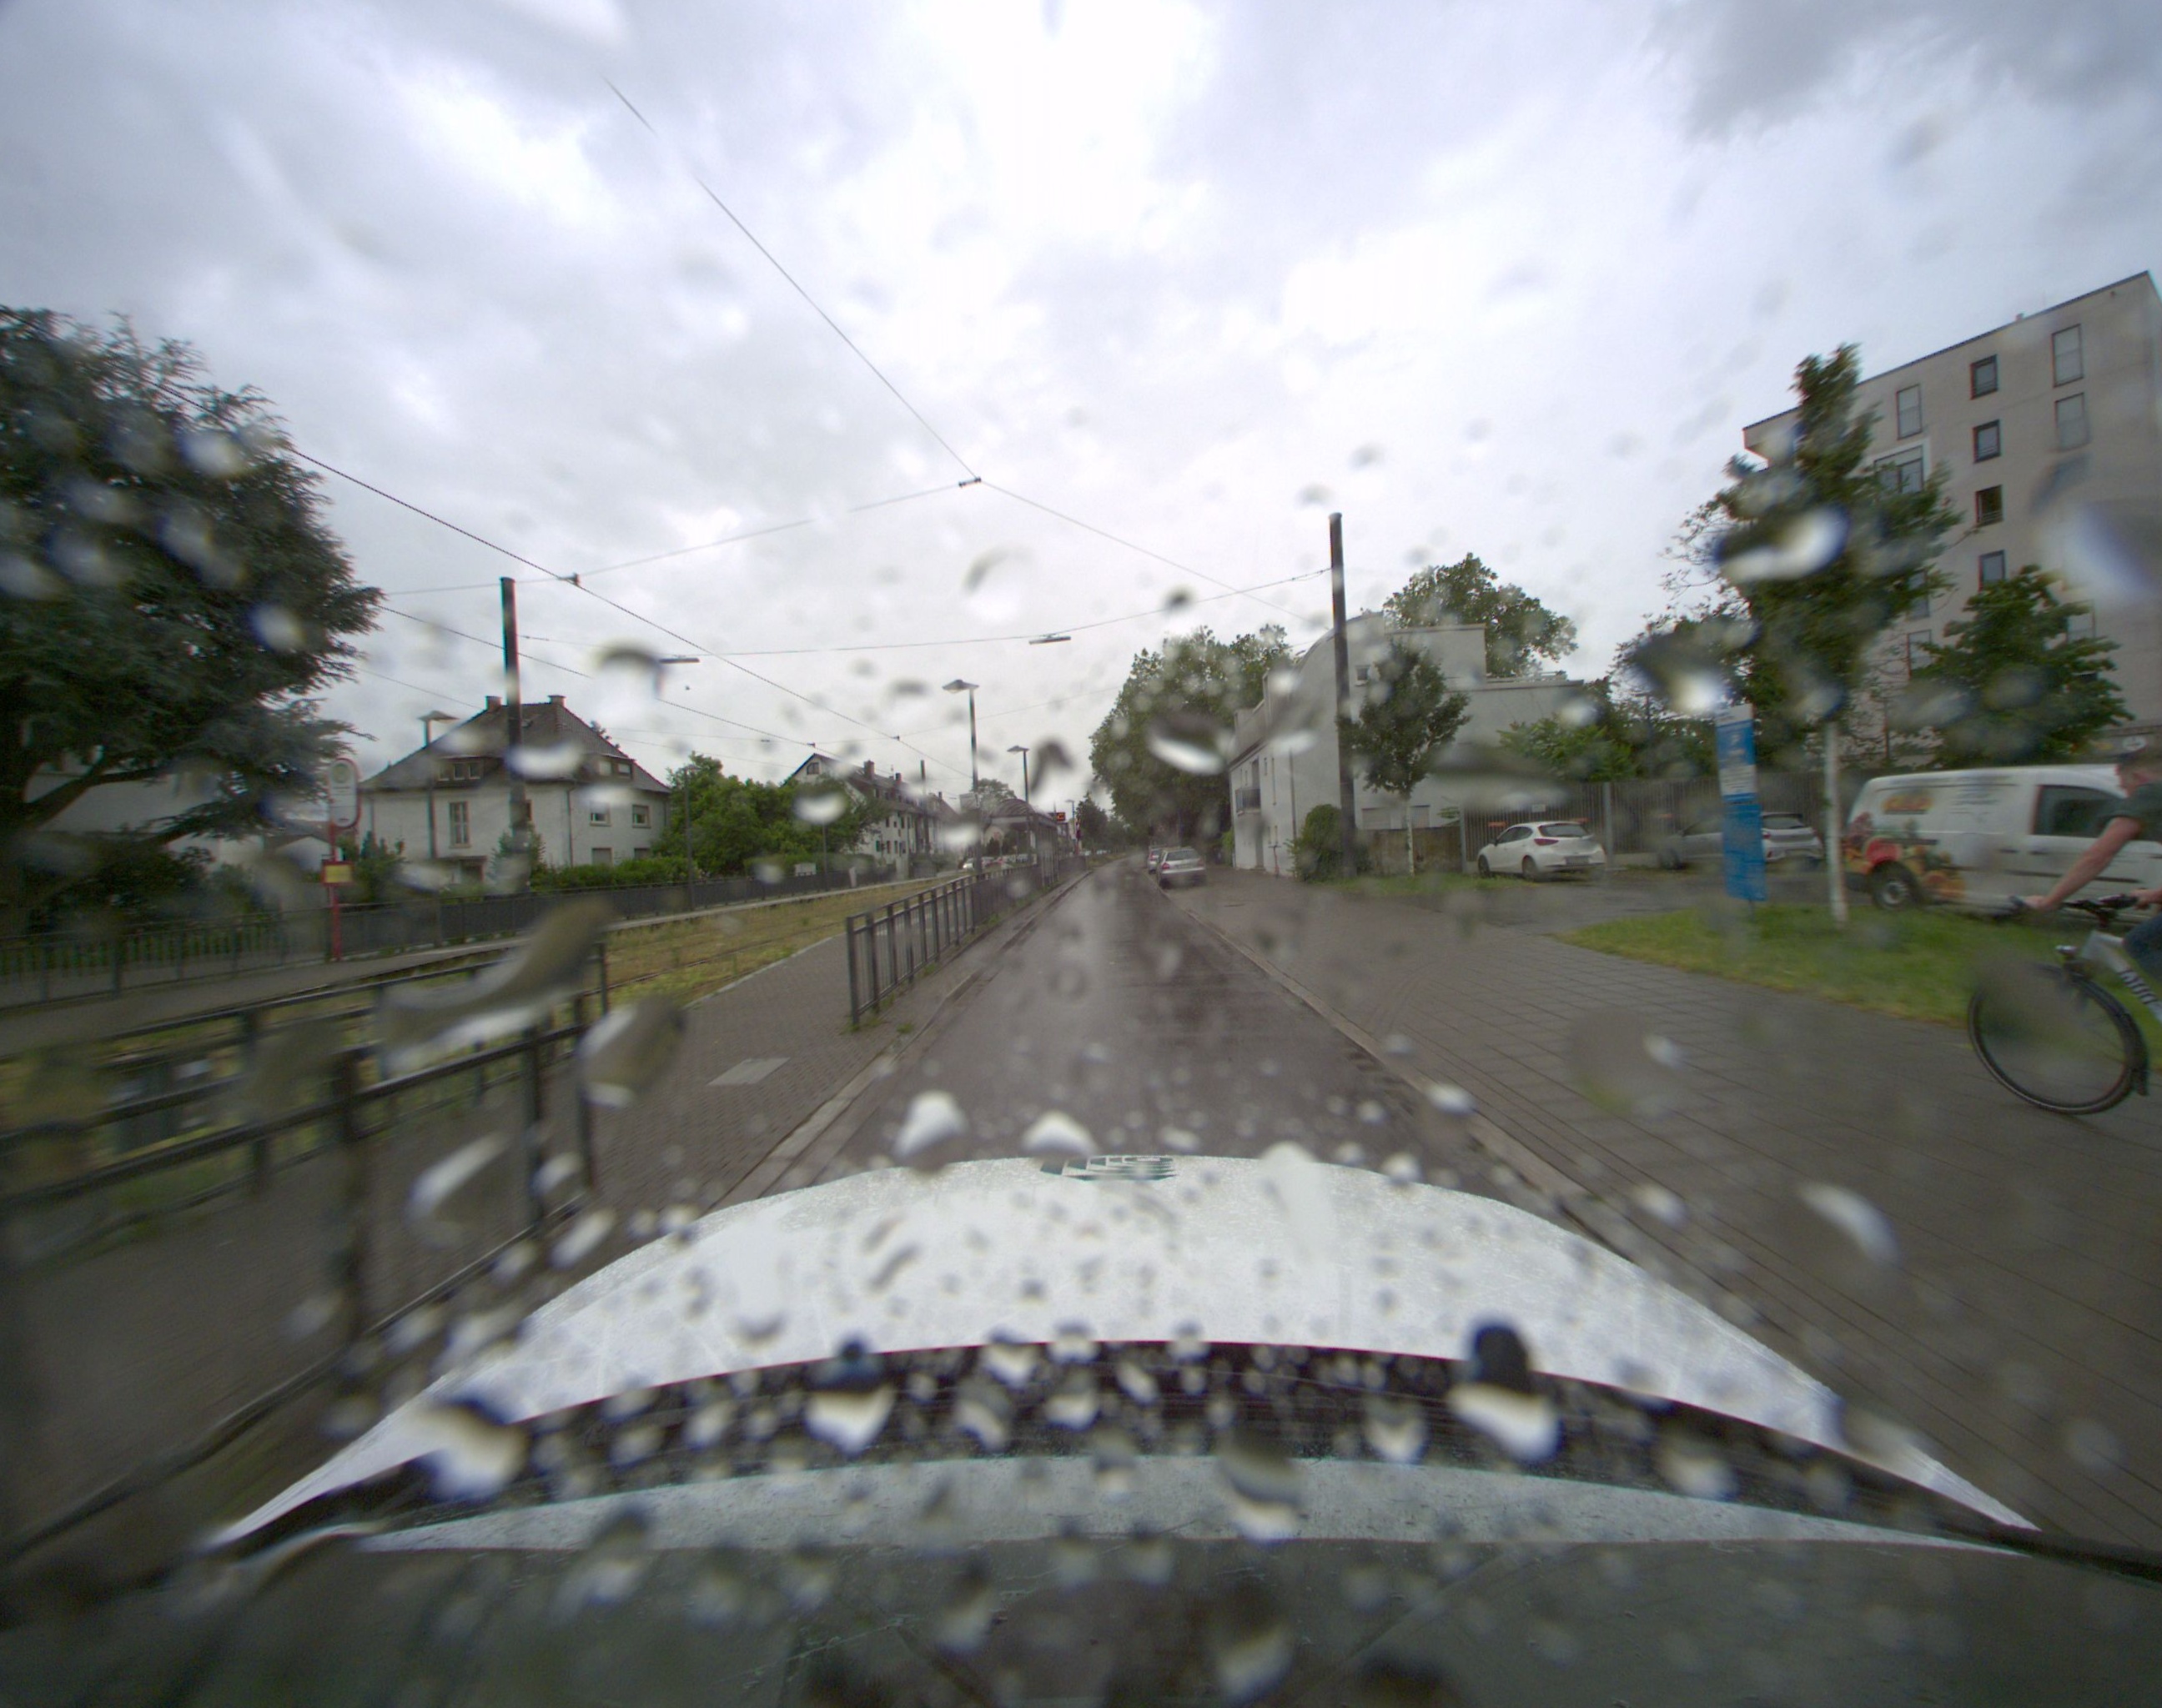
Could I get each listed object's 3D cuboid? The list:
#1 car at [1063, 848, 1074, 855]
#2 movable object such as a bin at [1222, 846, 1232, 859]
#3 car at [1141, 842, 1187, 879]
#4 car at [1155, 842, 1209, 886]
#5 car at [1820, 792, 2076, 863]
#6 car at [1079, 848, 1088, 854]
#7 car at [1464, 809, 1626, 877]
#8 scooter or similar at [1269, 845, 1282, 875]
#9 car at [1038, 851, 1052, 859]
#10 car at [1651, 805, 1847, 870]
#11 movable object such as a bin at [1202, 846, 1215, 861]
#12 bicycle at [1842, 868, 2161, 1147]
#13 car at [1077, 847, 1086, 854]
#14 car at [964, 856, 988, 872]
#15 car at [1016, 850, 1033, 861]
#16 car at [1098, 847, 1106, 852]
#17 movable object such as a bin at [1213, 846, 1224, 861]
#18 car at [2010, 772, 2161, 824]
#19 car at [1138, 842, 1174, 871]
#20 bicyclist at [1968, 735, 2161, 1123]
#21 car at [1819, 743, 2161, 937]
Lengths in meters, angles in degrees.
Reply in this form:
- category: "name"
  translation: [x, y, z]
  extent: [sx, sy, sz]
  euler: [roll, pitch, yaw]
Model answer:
- category: "car"
  translation: [-2.784, -0.577, 185.619]
  extent: [1.919, 1.486, 4.007]
  euler: [-2, 0, 6]
- category: "movable object such as a bin"
  translation: [10.073, -0.100, 56.285]
  extent: [0.534, 0.899, 0.739]
  euler: [-5, 0, 2]
- category: "car"
  translation: [3.767, 0.296, 37.544]
  extent: [1.799, 1.405, 3.797]
  euler: [-6, -1, 3]
- category: "car"
  translation: [3.876, 0.376, 31.908]
  extent: [1.643, 1.405, 4.653]
  euler: [-6, -1, 3]
- category: "car"
  translation: [21.332, -0.636, 20.370]
  extent: [1.954, 1.534, 4.369]
  euler: [-2, 1, 4]
- category: "car"
  translation: [0.725, -0.865, 219.020]
  extent: [1.919, 1.486, 4.007]
  euler: [-2, 0, 6]
- category: "car"
  translation: [11.874, -0.306, 21.207]
  extent: [1.954, 1.534, 4.369]
  euler: [-2, 1, 4]
- category: "scooter or similar"
  translation: [7.309, 0.227, 30.645]
  extent: [0.331, 1.085, 1.399]
  euler: [-2, 0, 8]
- category: "car"
  translation: [-6.684, 0.227, 150.695]
  extent: [1.919, 1.486, 4.007]
  euler: [-2, 0, 6]
- category: "car"
  translation: [17.004, -0.421, 20.997]
  extent: [1.959, 1.446, 3.660]
  euler: [-2, 1, -3]
- category: "movable object such as a bin"
  translation: [8.932, -0.029, 57.132]
  extent: [0.690, 1.022, 0.825]
  euler: [-5, 0, 2]
- category: "bicycle"
  translation: [4.580, 0.626, 3.568]
  extent: [0.535, 1.093, 1.945]
  euler: [-2, 0, -5]
- category: "car"
  translation: [0.075, -0.868, 207.788]
  extent: [1.919, 1.486, 4.007]
  euler: [-2, 0, 6]
- category: "car"
  translation: [-10.734, 0.985, 83.161]
  extent: [1.626, 1.493, 4.004]
  euler: [-2, 0, 4]
- category: "car"
  translation: [-8.370, 0.235, 120.978]
  extent: [1.919, 1.486, 4.007]
  euler: [-2, 0, 6]
- category: "car"
  translation: [6.491, -1.294, 249.565]
  extent: [1.919, 1.486, 4.007]
  euler: [-2, 0, 6]
- category: "movable object such as a bin"
  translation: [9.524, -0.048, 56.443]
  extent: [0.534, 1.022, 0.739]
  euler: [-5, 0, 2]
- category: "car"
  translation: [34.032, -1.839, 26.751]
  extent: [1.976, 1.534, 4.322]
  euler: [-3, 1, -30]
- category: "car"
  translation: [4.336, 0.151, 47.592]
  extent: [1.799, 1.467, 3.797]
  euler: [-6, -1, 3]
- category: "bicyclist"
  translation: [4.568, 0.298, 3.534]
  extent: [0.533, 1.559, 0.771]
  euler: [-2, -1, -6]
- category: "car"
  translation: [11.013, -0.190, 8.745]
  extent: [1.954, 1.783, 4.903]
  euler: [-2, 1, 4]
